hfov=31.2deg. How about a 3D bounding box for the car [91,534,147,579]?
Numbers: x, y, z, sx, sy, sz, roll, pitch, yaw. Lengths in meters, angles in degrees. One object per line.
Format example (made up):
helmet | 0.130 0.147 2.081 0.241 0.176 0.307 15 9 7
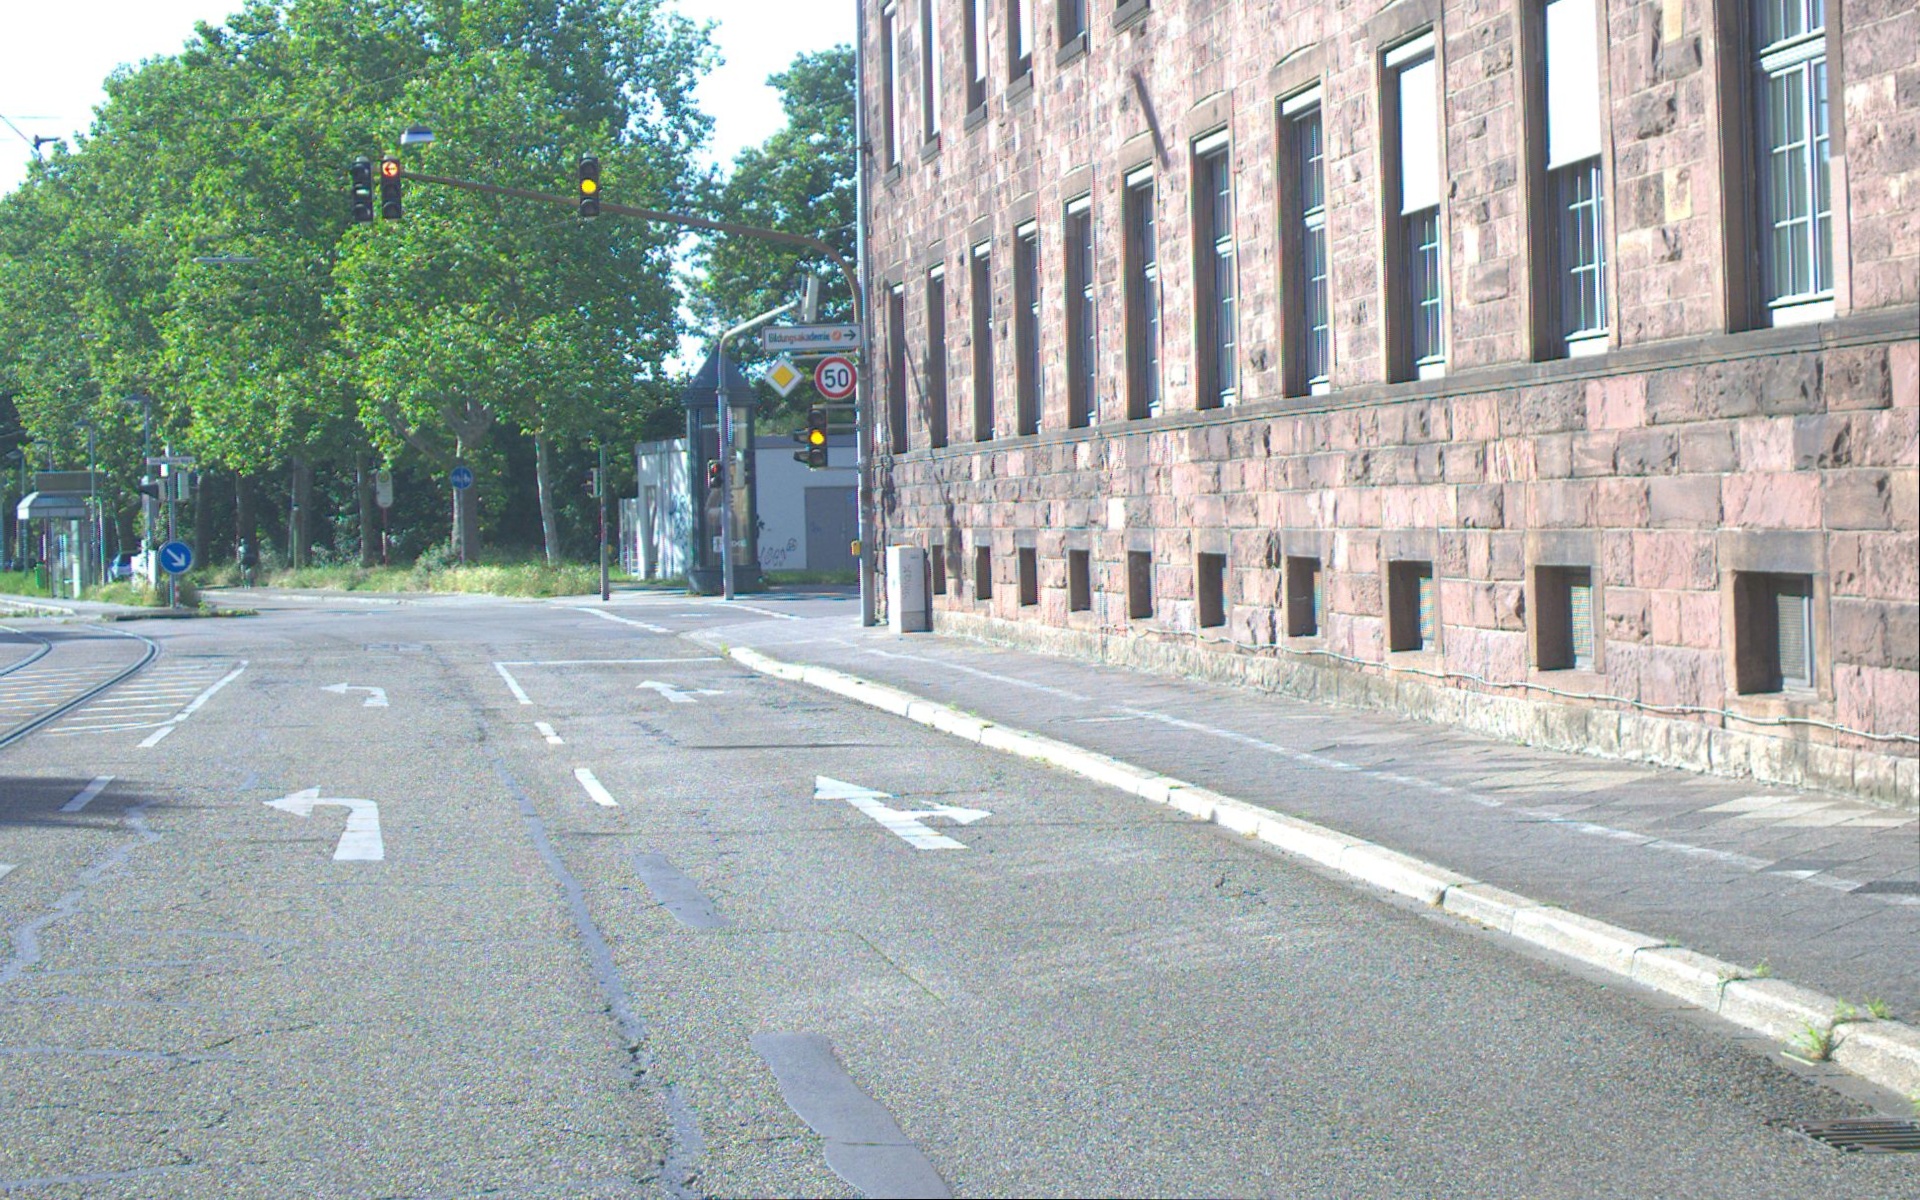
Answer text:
car | -31.359 -1.632 128.076 1.942 1.605 4.001 -1 1 -15

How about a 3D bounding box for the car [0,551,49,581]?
car | -51.261 -1.858 187.775 1.942 1.605 4.000 -2 2 -30
